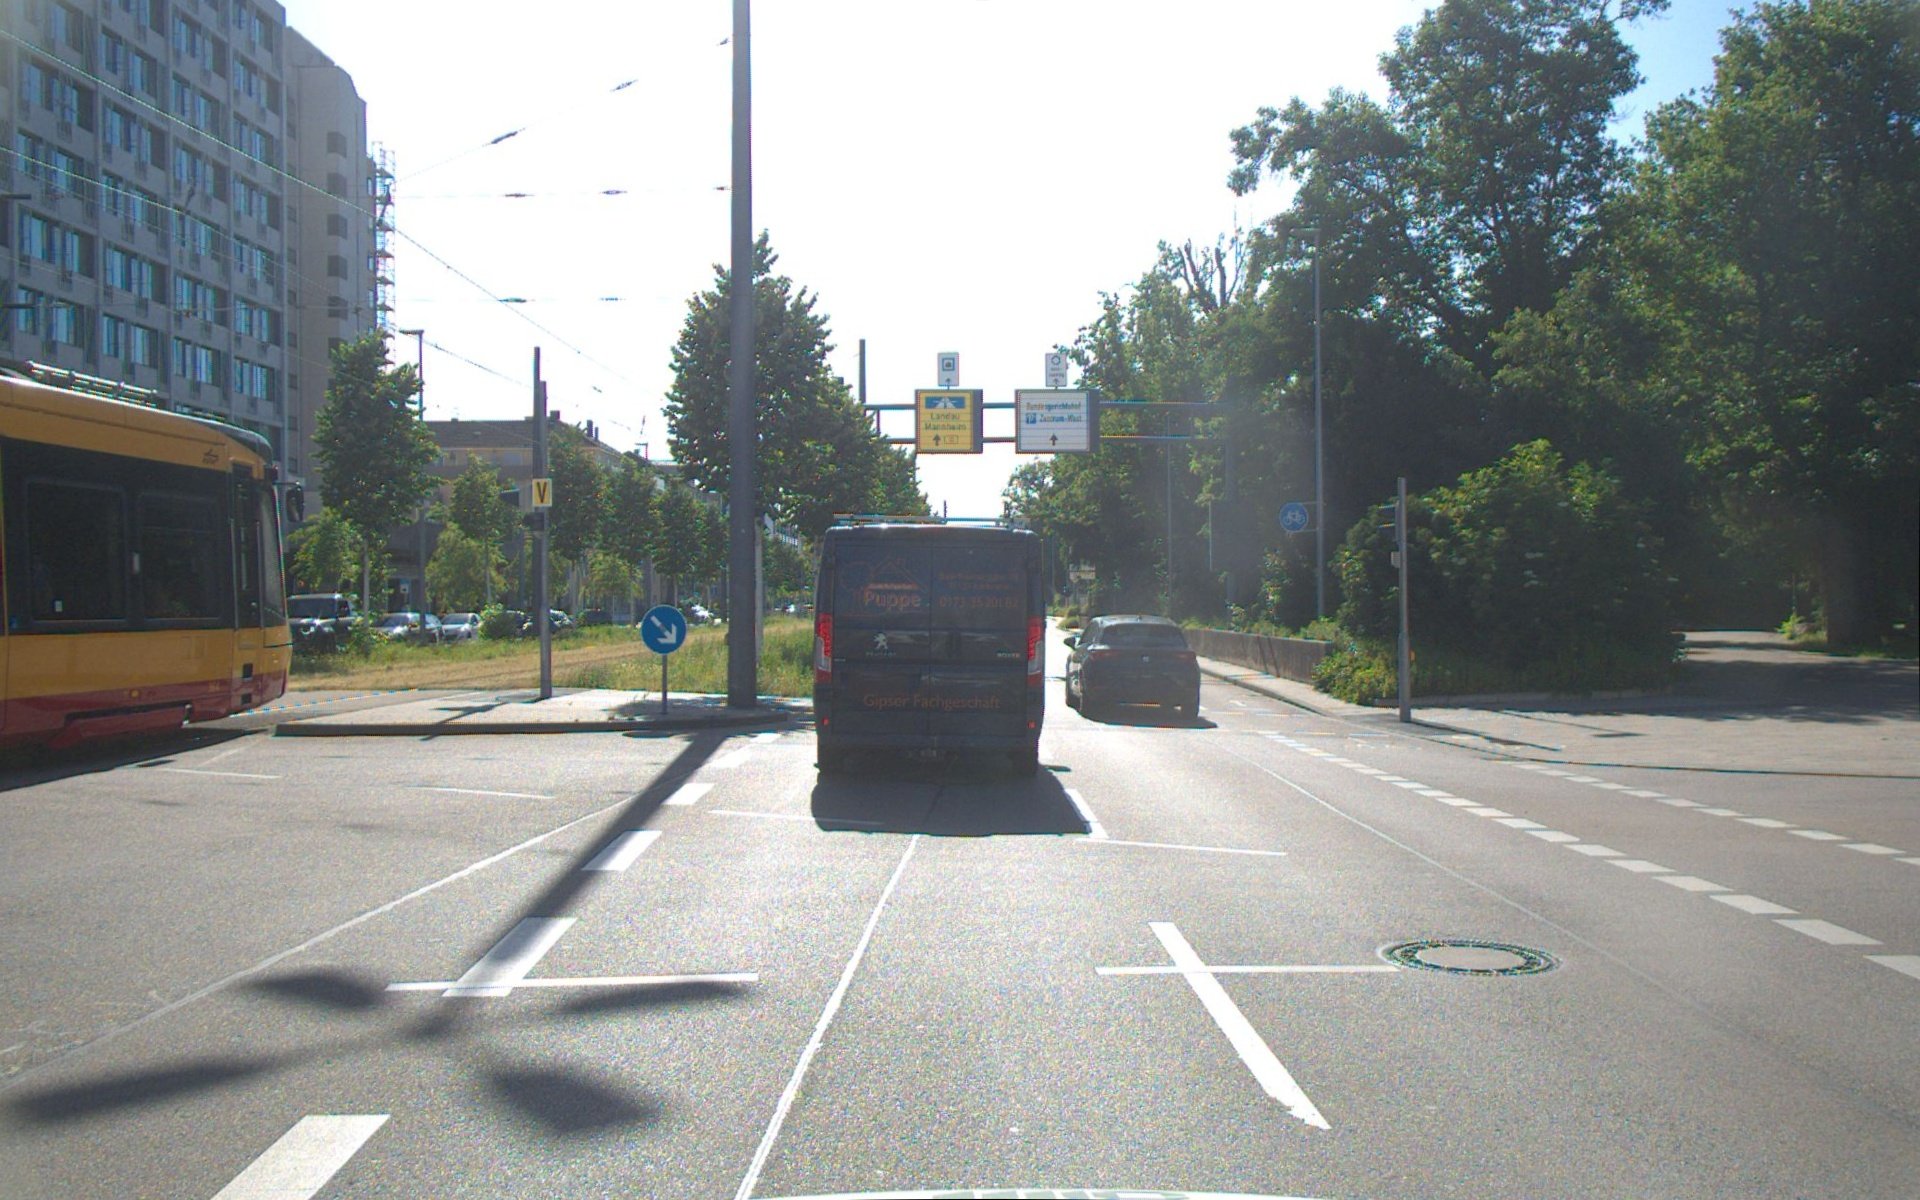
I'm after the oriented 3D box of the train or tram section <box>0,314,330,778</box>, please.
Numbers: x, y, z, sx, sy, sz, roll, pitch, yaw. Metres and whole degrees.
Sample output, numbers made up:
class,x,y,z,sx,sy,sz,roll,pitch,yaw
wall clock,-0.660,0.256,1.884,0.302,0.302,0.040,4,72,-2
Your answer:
class,x,y,z,sx,sy,sz,roll,pitch,yaw
train or tram section,-8.692,-0.439,13.592,1.952,3.733,11.687,1,0,3

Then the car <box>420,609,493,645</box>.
class,x,y,z,sx,sy,sz,roll,pitch,yaw
car,-22.864,1.217,75.222,1.952,1.579,4.001,1,0,2

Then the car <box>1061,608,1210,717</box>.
class,x,y,z,sx,sy,sz,roll,pitch,yaw
car,2.566,0.877,24.977,1.727,1.488,3.999,1,0,-1

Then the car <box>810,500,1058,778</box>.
class,x,y,z,sx,sy,sz,roll,pitch,yaw
car,-0.217,0.336,15.794,2.039,2.288,4.000,1,0,0

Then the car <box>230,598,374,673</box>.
class,x,y,z,sx,sy,sz,roll,pitch,yaw
car,-17.150,0.890,43.343,1.952,1.851,4.286,1,0,1

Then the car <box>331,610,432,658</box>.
class,x,y,z,sx,sy,sz,roll,pitch,yaw
car,-19.956,1.145,57.260,1.952,1.579,4.001,1,0,2

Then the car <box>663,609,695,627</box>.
class,x,y,z,sx,sy,sz,roll,pitch,yaw
car,-24.369,1.544,143.593,1.952,1.579,4.001,1,0,1

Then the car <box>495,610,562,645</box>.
class,x,y,z,sx,sy,sz,roll,pitch,yaw
car,-20.294,1.264,77.973,1.952,1.579,4.001,1,0,2
